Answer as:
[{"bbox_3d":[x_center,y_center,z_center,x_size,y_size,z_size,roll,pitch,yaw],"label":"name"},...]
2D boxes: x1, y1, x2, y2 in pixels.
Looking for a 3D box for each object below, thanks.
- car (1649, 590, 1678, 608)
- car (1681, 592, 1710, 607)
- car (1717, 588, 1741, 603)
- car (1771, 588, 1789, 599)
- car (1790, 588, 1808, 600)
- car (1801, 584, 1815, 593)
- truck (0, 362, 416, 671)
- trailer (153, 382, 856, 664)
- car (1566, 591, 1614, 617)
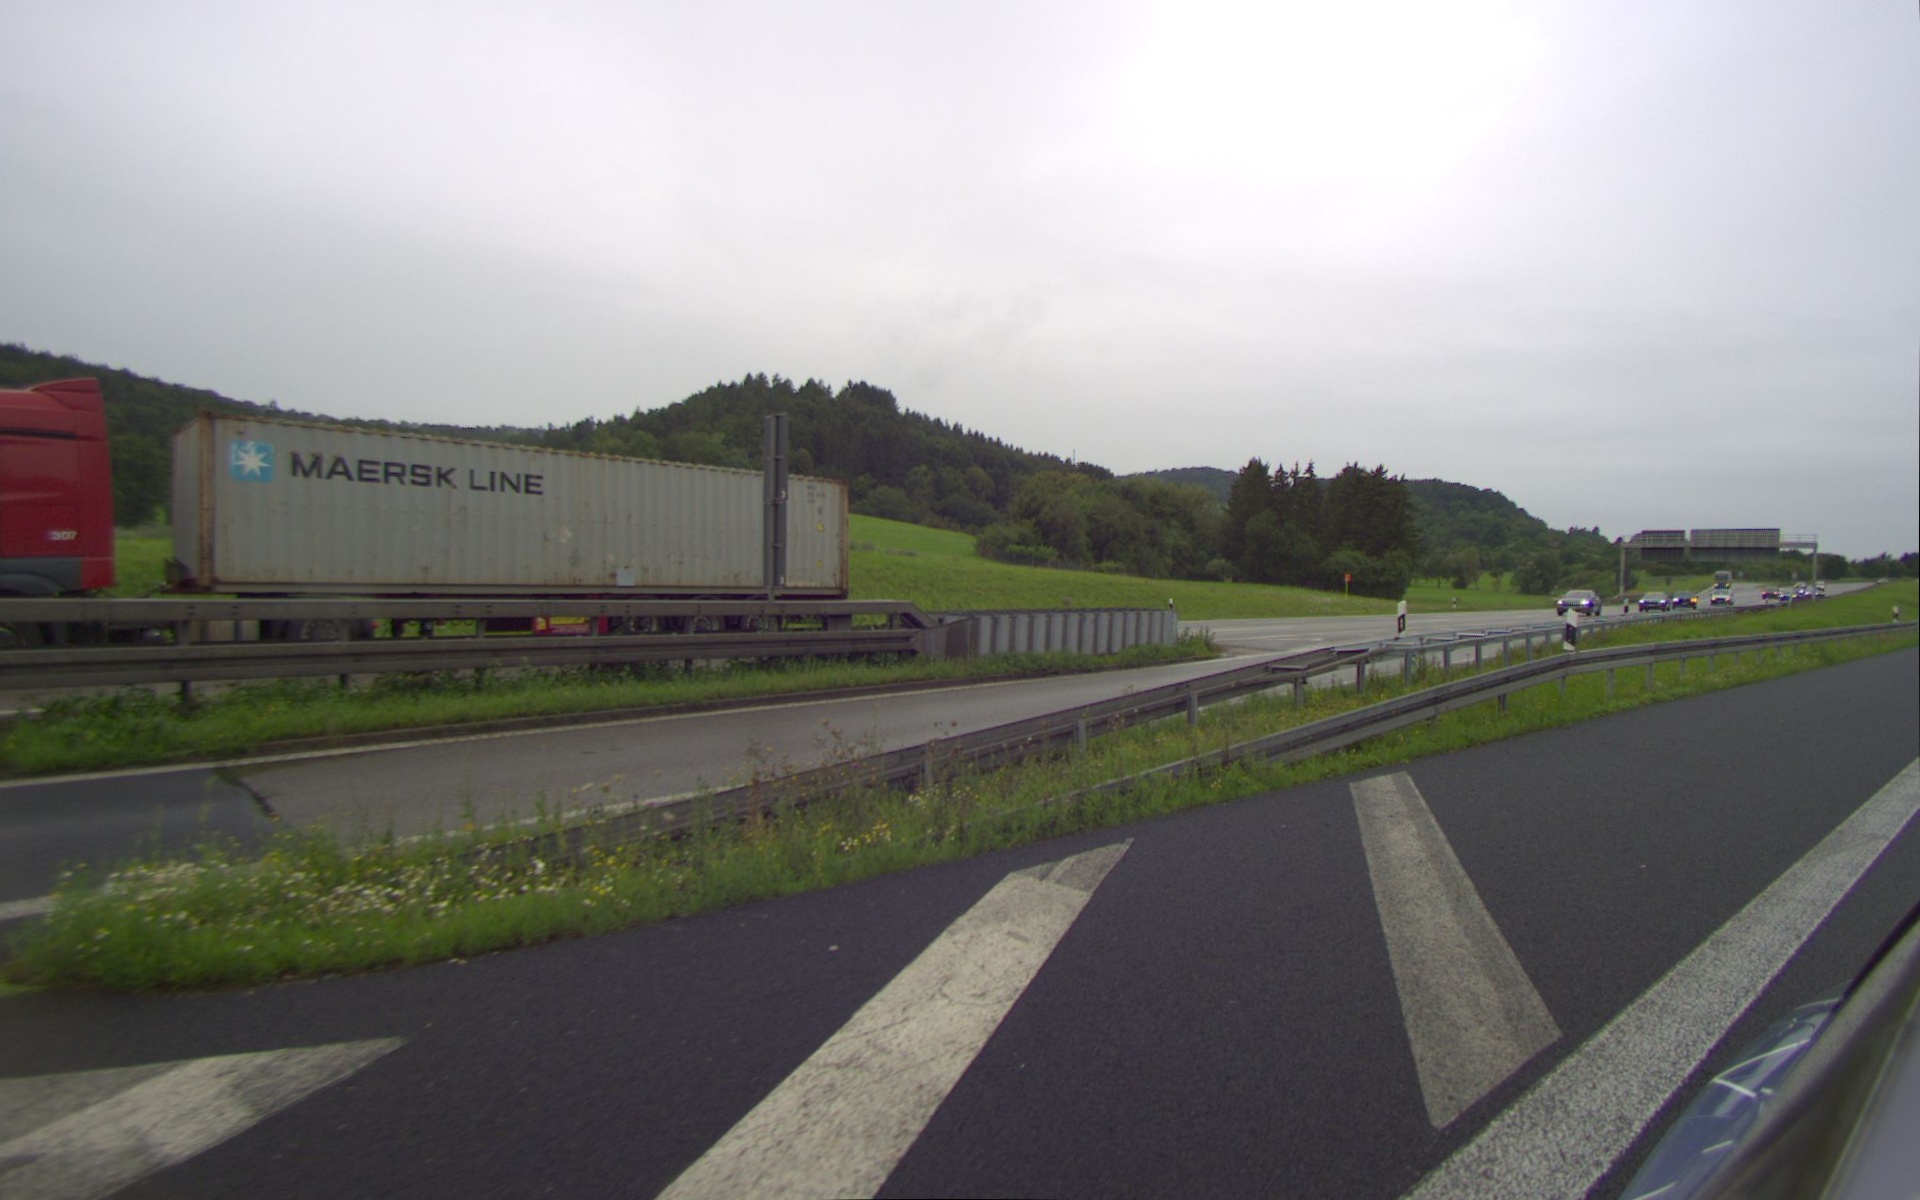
[{"bbox_3d":[58.080,-0.082,83.515,1.664,1.400,4.068,0,1,39],"label":"car"},{"bbox_3d":[69.705,-0.034,95.919,1.860,1.374,4.500,0,1,41],"label":"car"},{"bbox_3d":[91.803,-0.560,120.789,1.908,1.715,4.647,0,1,42],"label":"car"},{"bbox_3d":[130.101,-1.097,160.557,1.907,1.715,4.648,0,0,42],"label":"car"},{"bbox_3d":[121.269,-0.914,146.257,1.907,1.715,4.648,0,0,42],"label":"car"},{"bbox_3d":[161.689,-2.216,192.893,1.907,1.715,4.648,0,0,42],"label":"car"},{"bbox_3d":[-11.912,-1.084,15.022,2.616,3.933,6.290,0,0,44],"label":"truck"},{"bbox_3d":[-7.570,-1.150,19.495,2.604,3.943,12.291,0,0,44],"label":"trailer"},{"bbox_3d":[40.002,0.227,64.231,1.769,1.630,4.571,0,1,43],"label":"car"}]
